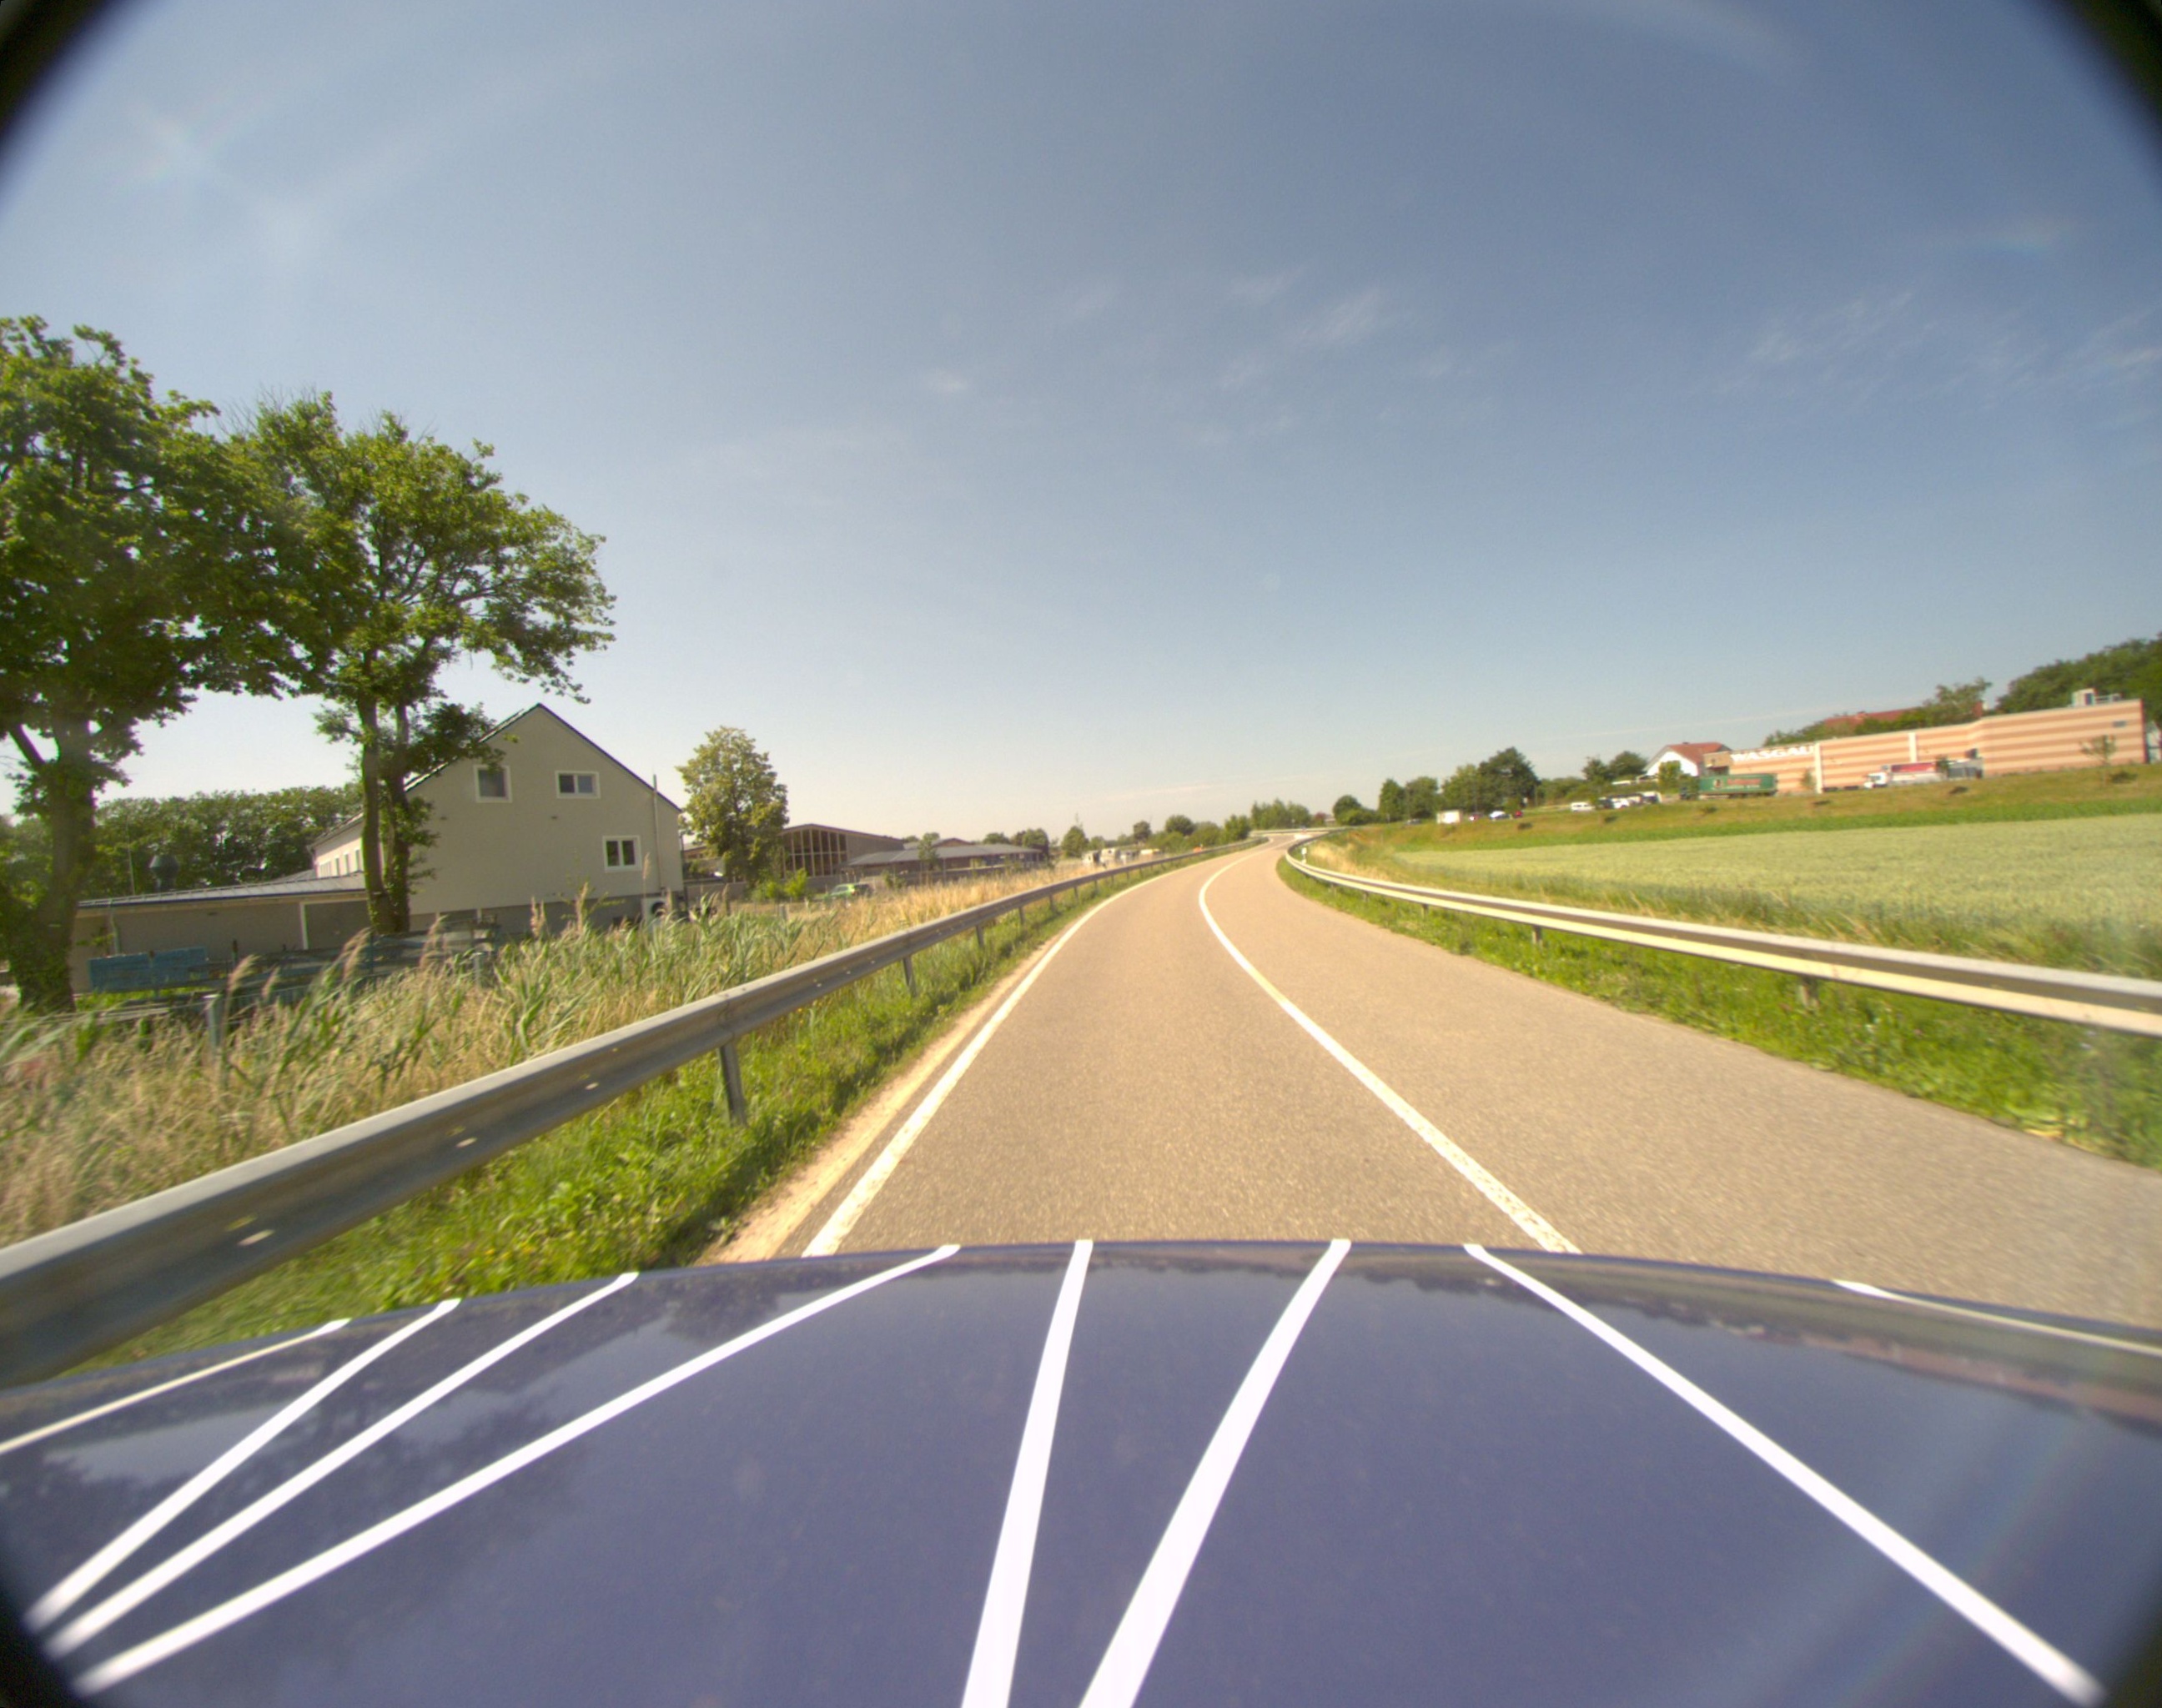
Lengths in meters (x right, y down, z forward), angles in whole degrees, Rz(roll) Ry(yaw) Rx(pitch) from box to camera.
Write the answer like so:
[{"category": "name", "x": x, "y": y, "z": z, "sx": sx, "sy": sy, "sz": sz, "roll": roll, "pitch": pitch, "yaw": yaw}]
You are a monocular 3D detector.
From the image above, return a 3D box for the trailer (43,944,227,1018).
[{"category": "trailer", "x": -28.624, "y": 3.793, "z": 23.161, "sx": 3.145, "sy": 1.488, "sz": 1.712, "roll": -8, "pitch": 3, "yaw": -42}]

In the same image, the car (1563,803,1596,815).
[{"category": "car", "x": 85.220, "y": -7.739, "z": 129.965, "sx": 4.322, "sy": 1.589, "sz": 2.003, "roll": -5, "pitch": 2, "yaw": 41}]

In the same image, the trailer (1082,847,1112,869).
[{"category": "trailer", "x": 2.043, "y": 0.486, "z": 98.486, "sx": 2.177, "sy": 2.656, "sz": 4.472, "roll": -4, "pitch": 2, "yaw": -23}]

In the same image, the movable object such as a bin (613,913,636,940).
[{"category": "movable object such as a bin", "x": -20.615, "y": 3.275, "z": 34.294, "sx": 0.577, "sy": 1.143, "sz": 0.662, "roll": -4, "pitch": 1, "yaw": 43}]

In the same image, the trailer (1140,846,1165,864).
[{"category": "trailer", "x": 12.247, "y": 0.194, "z": 130.185, "sx": 3.412, "sy": 2.789, "sz": 2.169, "roll": -4, "pitch": 1, "yaw": 40}]

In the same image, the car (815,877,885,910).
[{"category": "car", "x": -14.266, "y": 2.433, "z": 46.790, "sx": 4.363, "sy": 1.571, "sz": 1.936, "roll": -6, "pitch": 2, "yaw": 41}]

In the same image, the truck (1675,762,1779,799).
[{"category": "truck", "x": 84.573, "y": -9.565, "z": 99.678, "sx": 2.882, "sy": 3.458, "sz": 9.918, "roll": -8, "pitch": 3, "yaw": -42}]

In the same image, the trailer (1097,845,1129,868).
[{"category": "trailer", "x": 4.272, "y": 0.390, "z": 102.187, "sx": 2.236, "sy": 2.848, "sz": 5.036, "roll": -4, "pitch": 0, "yaw": -23}]

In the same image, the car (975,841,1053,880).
[{"category": "car", "x": -7.548, "y": 0.797, "z": 85.001, "sx": 8.974, "sy": 3.631, "sz": 2.784, "roll": -5, "pitch": 0, "yaw": 39}]

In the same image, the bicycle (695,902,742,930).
[{"category": "bicycle", "x": -18.953, "y": 3.237, "z": 39.791, "sx": 0.713, "sy": 1.185, "sz": 1.973, "roll": -5, "pitch": 1, "yaw": 44}]

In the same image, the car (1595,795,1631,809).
[{"category": "car", "x": 83.894, "y": -8.144, "z": 119.835, "sx": 4.322, "sy": 1.694, "sz": 2.003, "roll": -5, "pitch": 3, "yaw": 42}]

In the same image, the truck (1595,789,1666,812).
[{"category": "truck", "x": 106.097, "y": -10.385, "z": 147.028, "sx": 10.696, "sy": 3.173, "sz": 2.450, "roll": -5, "pitch": 2, "yaw": 28}]

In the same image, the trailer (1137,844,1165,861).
[{"category": "trailer", "x": 11.673, "y": -0.215, "z": 126.339, "sx": 2.010, "sy": 2.376, "sz": 4.084, "roll": -6, "pitch": -1, "yaw": -41}]

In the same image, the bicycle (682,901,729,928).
[{"category": "bicycle", "x": -19.834, "y": 3.168, "z": 40.159, "sx": 0.713, "sy": 1.185, "sz": 1.973, "roll": -5, "pitch": 0, "yaw": 41}]

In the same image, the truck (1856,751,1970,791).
[{"category": "truck", "x": 98.954, "y": -9.810, "z": 90.640, "sx": 8.860, "sy": 3.544, "sz": 2.882, "roll": -4, "pitch": 3, "yaw": 44}]
